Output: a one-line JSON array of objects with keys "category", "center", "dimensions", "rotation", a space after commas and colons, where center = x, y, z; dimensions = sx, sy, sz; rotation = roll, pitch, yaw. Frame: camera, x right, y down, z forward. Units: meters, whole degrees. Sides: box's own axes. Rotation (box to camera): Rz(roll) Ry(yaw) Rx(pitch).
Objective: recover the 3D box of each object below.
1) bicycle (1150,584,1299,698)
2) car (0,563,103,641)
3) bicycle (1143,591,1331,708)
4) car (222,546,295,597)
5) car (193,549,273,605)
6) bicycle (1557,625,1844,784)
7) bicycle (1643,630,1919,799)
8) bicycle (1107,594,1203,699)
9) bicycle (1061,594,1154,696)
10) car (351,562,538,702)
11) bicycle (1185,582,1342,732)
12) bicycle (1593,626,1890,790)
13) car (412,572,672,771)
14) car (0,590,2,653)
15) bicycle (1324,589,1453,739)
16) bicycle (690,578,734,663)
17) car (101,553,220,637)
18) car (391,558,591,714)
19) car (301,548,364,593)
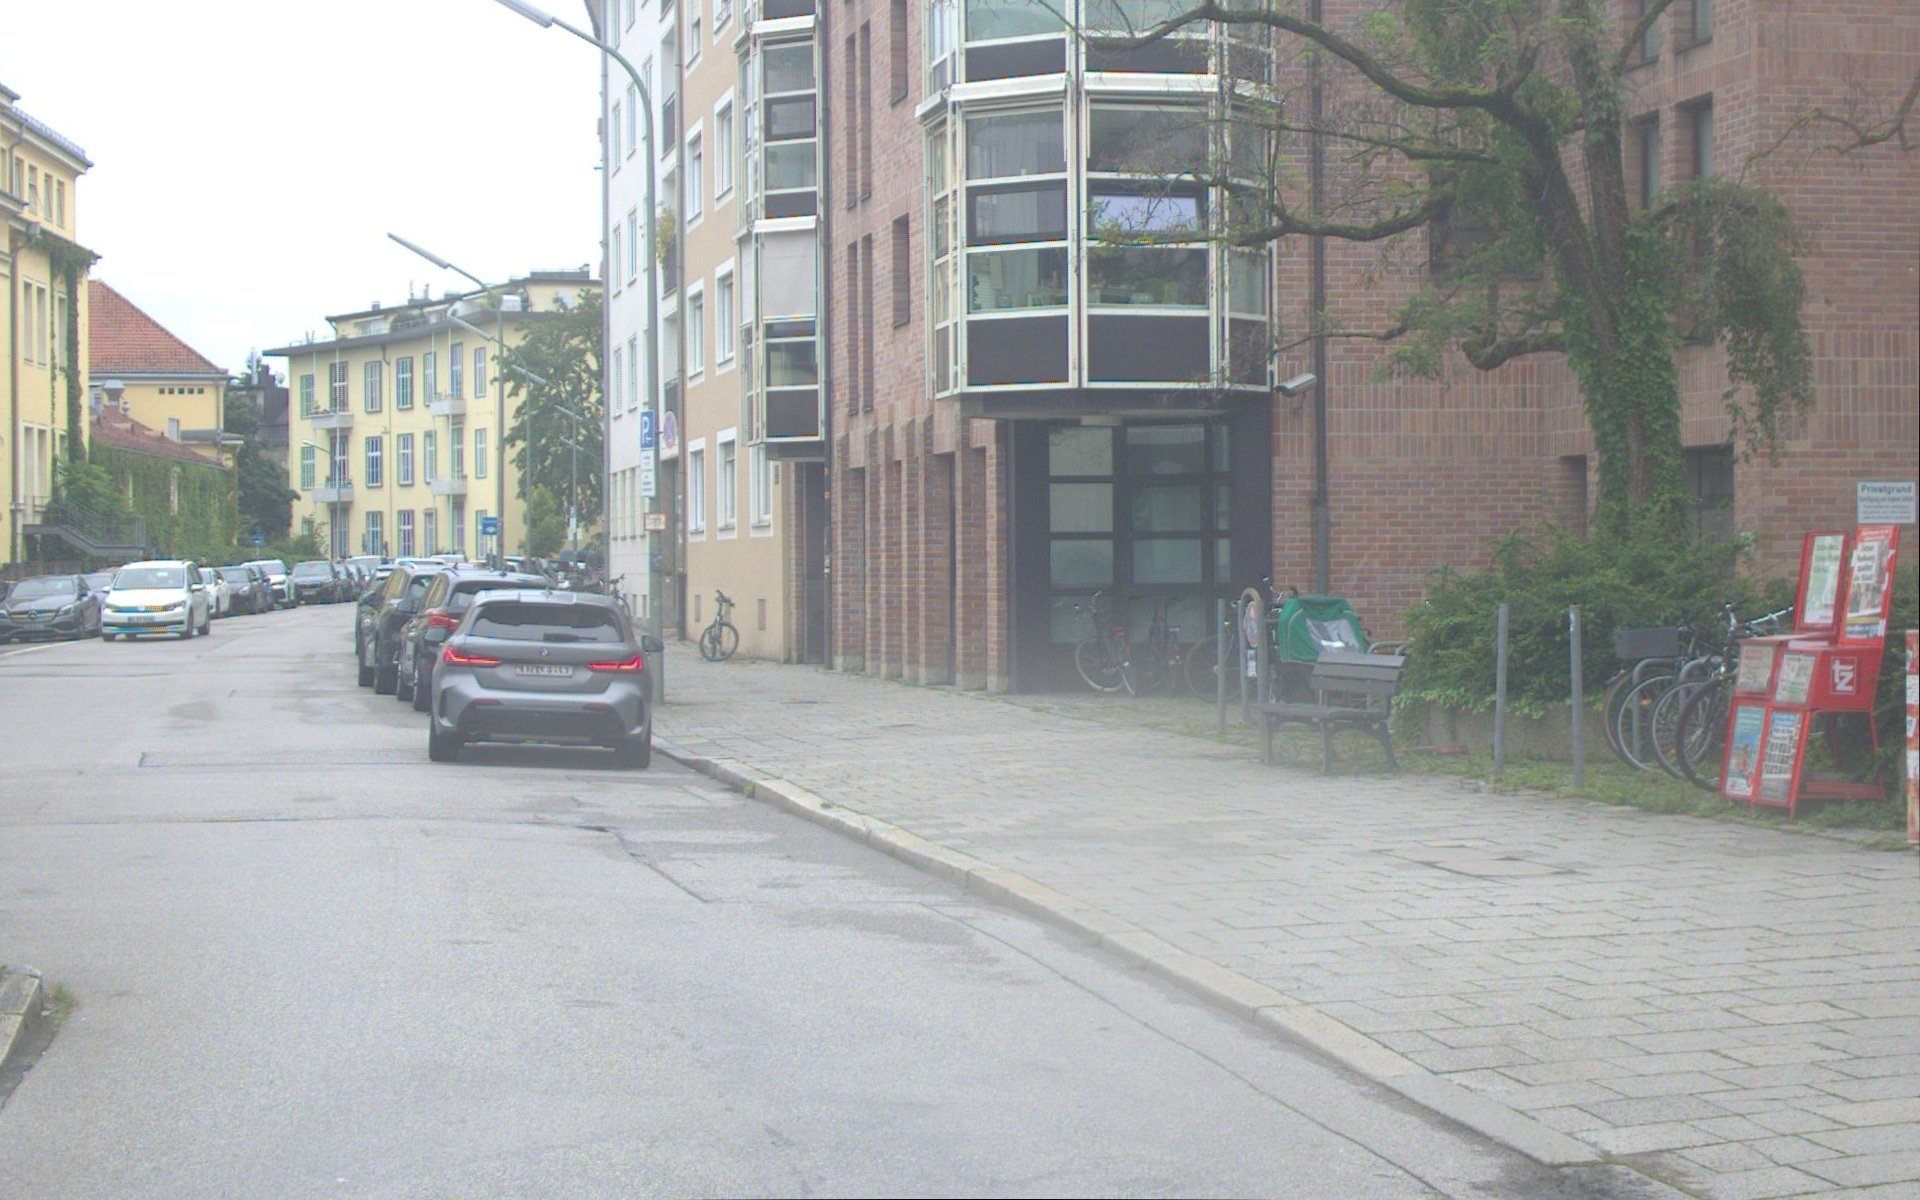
[{"category": "bicycle", "center": [2.759, 0.425, 35.865], "dimensions": [1.476, 1.143, 0.383], "rotation": [1, 1, -4]}, {"category": "car", "center": [-19.600, 0.028, 73.989], "dimensions": [1.772, 1.545, 3.779], "rotation": [1, 1, -7]}, {"category": "bicycle", "center": [2.848, 0.507, 35.416], "dimensions": [1.848, 1.143, 0.488], "rotation": [1, 1, -4]}, {"category": "car", "center": [-22.862, -0.957, 112.176], "dimensions": [1.993, 1.543, 4.001], "rotation": [1, 1, -7]}, {"category": "car", "center": [-21.712, -0.690, 102.803], "dimensions": [1.993, 1.543, 4.001], "rotation": [1, 1, -7]}, {"category": "bicycle", "center": [4.759, 0.668, 22.127], "dimensions": [1.700, 0.962, 0.546], "rotation": [1, 1, -9]}, {"category": "bicycle", "center": [5.036, 0.685, 20.705], "dimensions": [1.700, 0.962, 0.546], "rotation": [1, 1, -9]}, {"category": "bicycle", "center": [2.091, 0.488, 37.078], "dimensions": [0.486, 1.056, 1.996], "rotation": [1, 1, -12]}, {"category": "bicycle", "center": [1.572, 0.471, 36.970], "dimensions": [0.486, 1.056, 1.996], "rotation": [1, 0, -12]}, {"category": "car", "center": [-6.717, 0.370, 44.455], "dimensions": [1.963, 1.596, 4.673], "rotation": [1, 1, -13]}, {"category": "bicycle", "center": [2.618, 0.489, 29.947], "dimensions": [0.534, 1.244, 2.414], "rotation": [1, -1, -16]}, {"category": "bicycle", "center": [4.874, 0.671, 21.464], "dimensions": [1.700, 0.962, 0.546], "rotation": [1, 1, -9]}, {"category": "car", "center": [-3.619, 0.550, 29.137], "dimensions": [1.924, 1.507, 4.393], "rotation": [1, 0, -10]}, {"category": "car", "center": [-18.969, 0.431, 63.668], "dimensions": [1.528, 1.198, 3.742], "rotation": [1, 1, -2]}, {"category": "bicycle", "center": [3.475, 0.504, 27.803], "dimensions": [0.421, 1.169, 1.359], "rotation": [2, 2, 35]}, {"category": "bicycle", "center": [-4.023, 0.315, 55.650], "dimensions": [0.468, 1.284, 2.675], "rotation": [1, 1, -9]}, {"category": "car", "center": [-16.738, -0.086, 72.157], "dimensions": [2.025, 1.616, 4.506], "rotation": [-2, -1, -9]}, {"category": "car", "center": [-5.452, 0.373, 39.589], "dimensions": [1.829, 1.596, 4.267], "rotation": [1, 1, -13]}, {"category": "car", "center": [-22.944, -1.092, 125.770], "dimensions": [1.993, 1.543, 4.001], "rotation": [1, 1, -7]}]
